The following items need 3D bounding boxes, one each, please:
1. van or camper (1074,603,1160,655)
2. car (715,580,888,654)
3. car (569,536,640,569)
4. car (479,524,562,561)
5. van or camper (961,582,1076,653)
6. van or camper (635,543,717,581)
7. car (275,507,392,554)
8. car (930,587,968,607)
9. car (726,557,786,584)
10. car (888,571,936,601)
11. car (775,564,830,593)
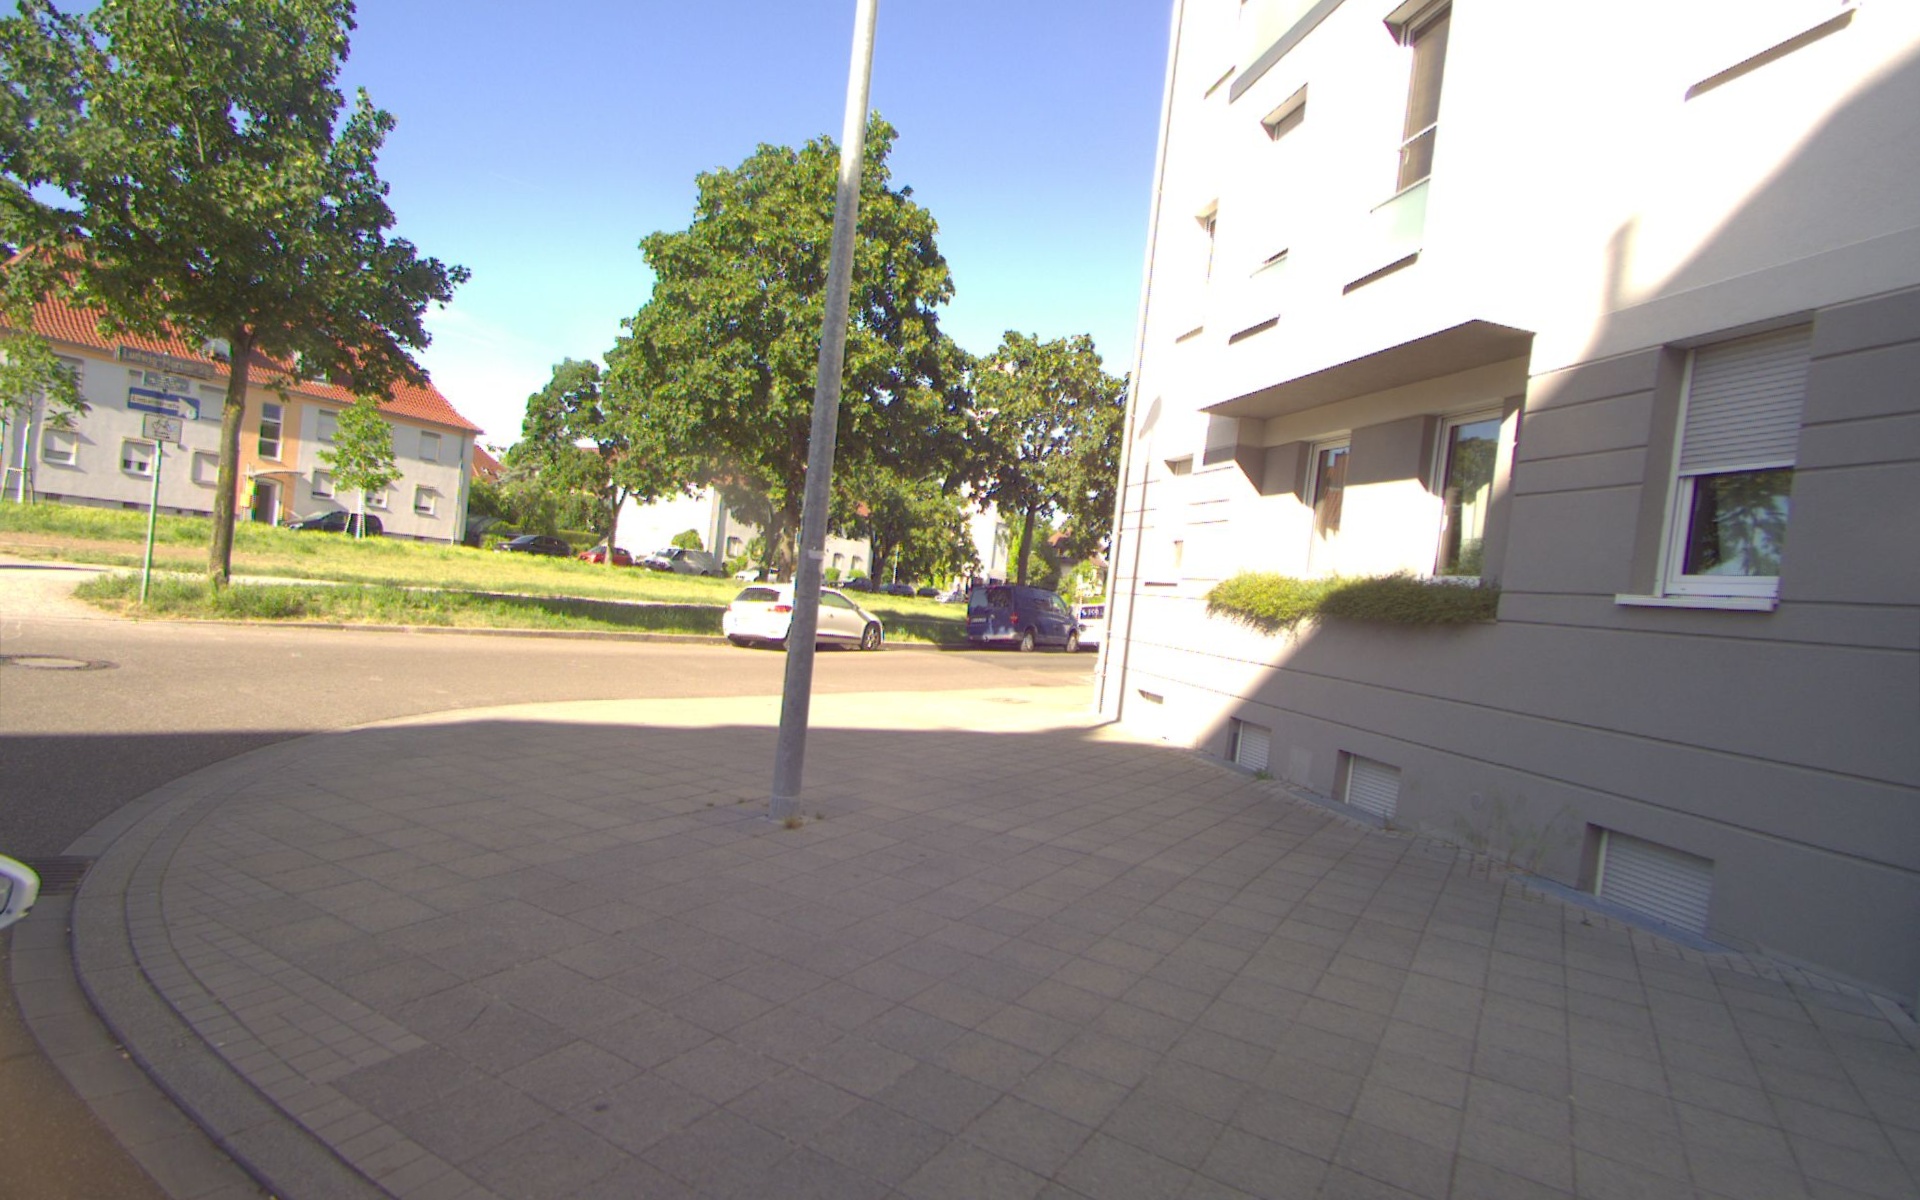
[{"bbox_3d":[5.992,1.120,38.003,1.710,1.783,3.989,3,-1,32],"label":"van or camper"},{"bbox_3d":[-3.337,0.409,21.827,1.578,1.407,3.809,3,-1,31],"label":"car"},{"bbox_3d":[-21.885,-2.899,62.057,1.618,1.570,3.880,7,1,32],"label":"car"},{"bbox_3d":[-24.775,-3.219,56.778,1.750,1.608,3.880,7,1,32],"label":"car"},{"bbox_3d":[1.882,0.583,31.167,1.826,2.006,3.989,3,-1,32],"label":"van or camper"},{"bbox_3d":[-17.711,-2.366,62.961,1.967,1.807,4.665,7,1,32],"label":"van or camper"},{"bbox_3d":[-29.985,-3.310,48.248,1.868,1.620,4.291,7,1,32],"label":"car"},{"bbox_3d":[-1.059,-0.280,98.011,1.775,1.486,3.710,7,1,32],"label":"car"},{"bbox_3d":[-14.973,-2.149,74.003,1.838,1.562,4.077,7,1,32],"label":"car"},{"bbox_3d":[-4.035,-1.177,85.073,1.967,2.039,3.990,7,1,31],"label":"car"},{"bbox_3d":[-12.246,-1.683,78.549,1.838,1.807,4.077,7,1,32],"label":"car"}]
